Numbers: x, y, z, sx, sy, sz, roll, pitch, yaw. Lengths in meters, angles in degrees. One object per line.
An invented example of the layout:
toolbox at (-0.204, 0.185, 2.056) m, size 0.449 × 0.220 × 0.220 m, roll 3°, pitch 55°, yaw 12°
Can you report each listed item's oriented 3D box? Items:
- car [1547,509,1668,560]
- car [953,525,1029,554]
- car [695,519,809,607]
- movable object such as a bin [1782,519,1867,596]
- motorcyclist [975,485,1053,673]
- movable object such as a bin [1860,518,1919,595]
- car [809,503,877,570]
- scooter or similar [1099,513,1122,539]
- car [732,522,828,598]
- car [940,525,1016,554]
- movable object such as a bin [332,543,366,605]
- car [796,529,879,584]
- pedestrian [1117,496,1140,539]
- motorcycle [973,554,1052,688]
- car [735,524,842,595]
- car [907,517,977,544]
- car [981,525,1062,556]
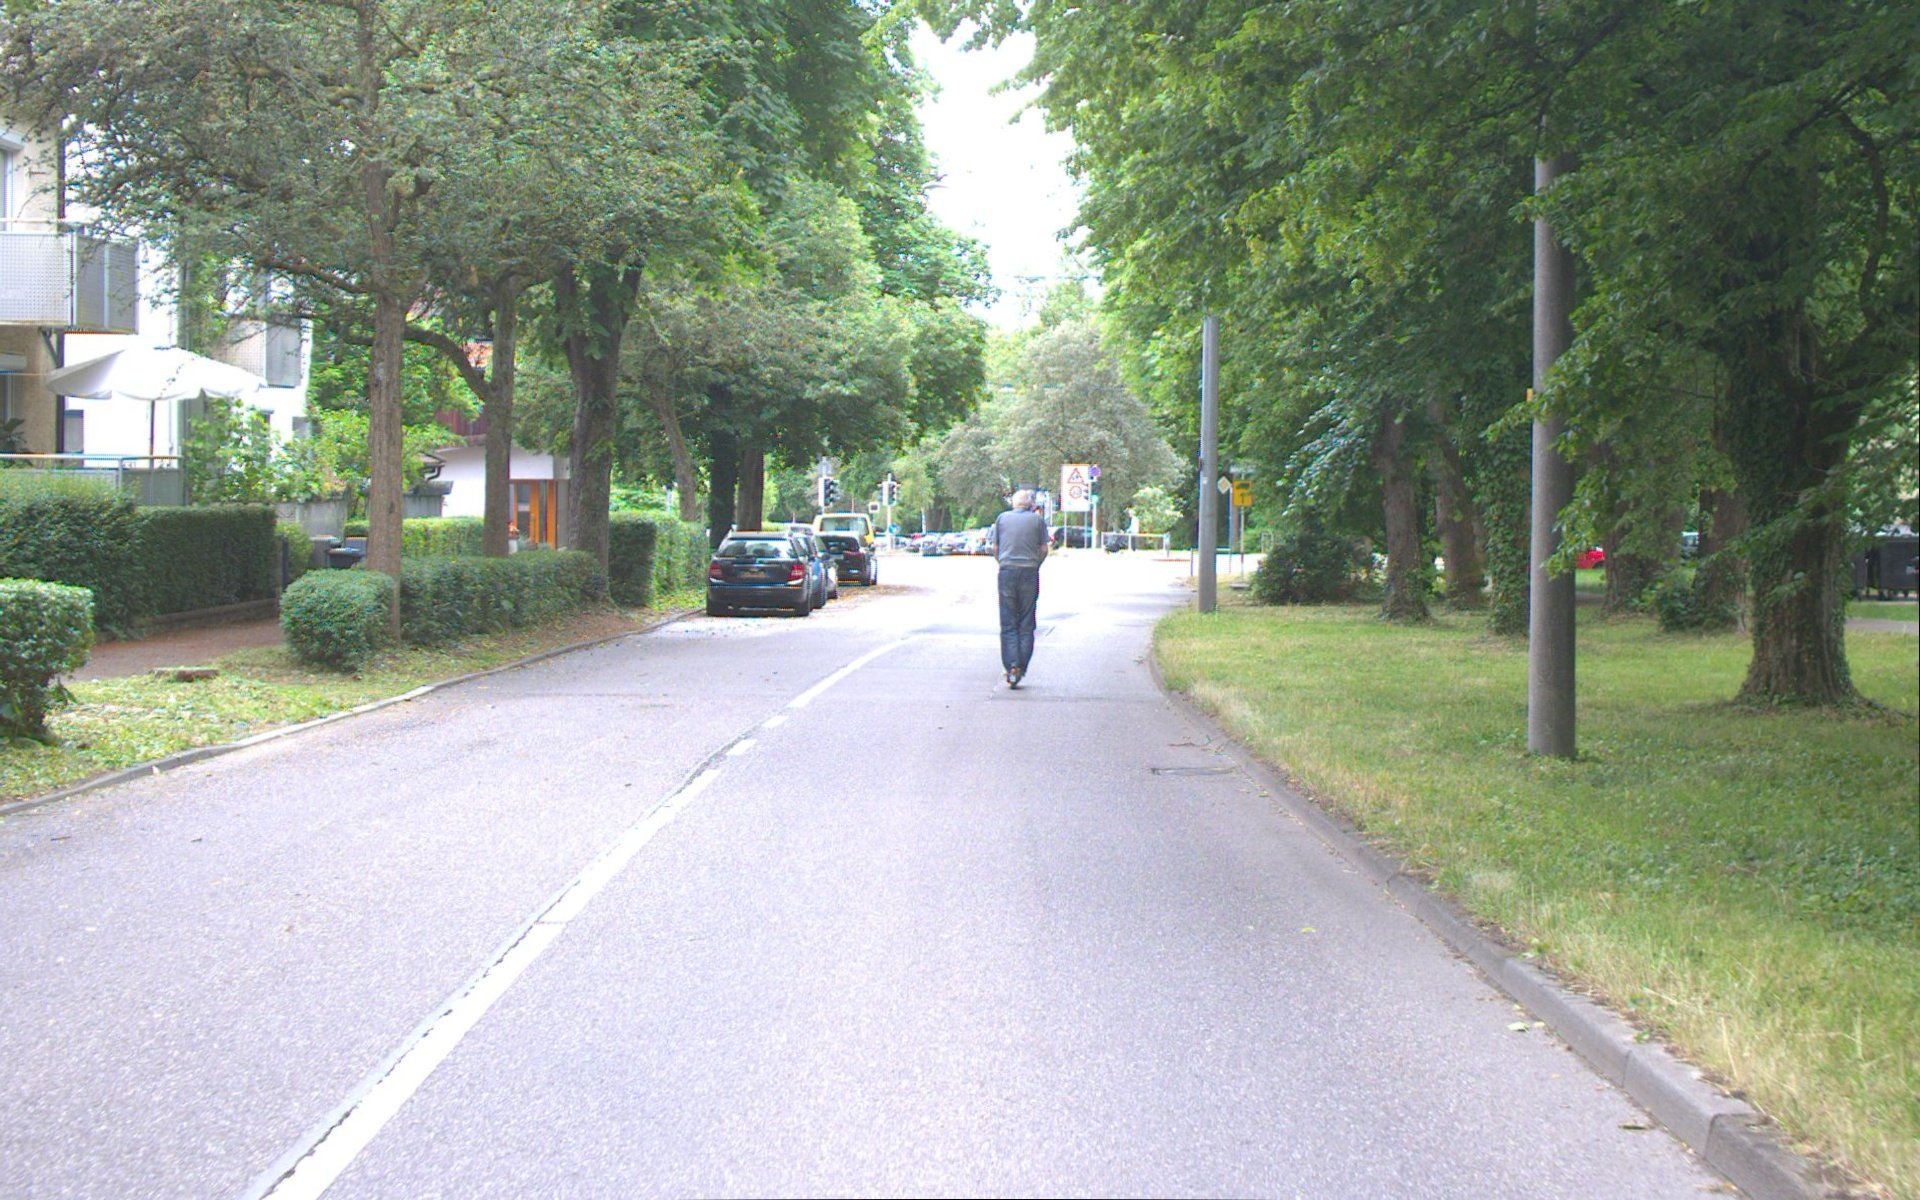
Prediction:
car at (22.513, -2.286, 119.450) m, size 3.989 × 1.551 × 1.799 m, roll 2°, pitch 4°, yaw 14°
car at (1.650, -3.203, 182.570) m, size 3.987 × 1.505 × 1.800 m, roll 0°, pitch 1°, yaw -1°
car at (-3.569, -0.663, 59.731) m, size 1.794 × 1.467 × 4.418 m, roll 0°, pitch 1°, yaw -1°
movable object such as a bin at (17.106, -0.847, 68.041) m, size 1.326 × 1.496 × 1.315 m, roll -1°, pitch 1°, yaw -1°
motorcyclist at (0.521, -0.207, 32.828) m, size 0.673 × 1.755 × 0.639 m, roll 2°, pitch 1°, yaw 3°
movable object such as a bin at (18.590, -0.867, 67.794) m, size 1.326 × 1.496 × 1.315 m, roll -1°, pitch 1°, yaw -1°
car at (-3.485, -1.866, 101.858) m, size 1.857 × 1.957 × 4.505 m, roll 0°, pitch 1°, yaw -4°
scooter or similar at (6.100, -2.982, 138.979) m, size 0.711 × 1.045 × 0.786 m, roll 0°, pitch 1°, yaw 21°
car at (-3.362, -0.776, 64.619) m, size 1.664 × 1.387 × 3.707 m, roll 0°, pitch 1°, yaw -1°
car at (0.951, -3.249, 184.487) m, size 3.987 × 1.505 × 1.800 m, roll 0°, pitch 1°, yaw -1°
movable object such as a bin at (-9.101, -0.386, 51.211) m, size 0.456 × 0.912 × 0.508 m, roll 0°, pitch 1°, yaw -5°
car at (-3.219, -1.147, 90.930) m, size 1.892 × 1.405 × 4.554 m, roll 0°, pitch 1°, yaw 2°
pedestrian at (6.789, -3.324, 138.659) m, size 0.733 × 1.755 × 0.661 m, roll 0°, pitch 1°, yaw 21°
motorcycle at (0.504, 0.189, 32.705) m, size 0.673 × 1.213 × 1.274 m, roll 2°, pitch 1°, yaw 3°
car at (-3.481, -0.848, 70.622) m, size 1.794 × 1.405 × 4.645 m, roll 0°, pitch 1°, yaw 2°
car at (-1.056, -4.026, 199.270) m, size 3.987 × 1.505 × 1.800 m, roll 0°, pitch 1°, yaw -1°
car at (3.065, -2.991, 171.810) m, size 3.987 × 1.505 × 1.800 m, roll 0°, pitch 1°, yaw -1°
